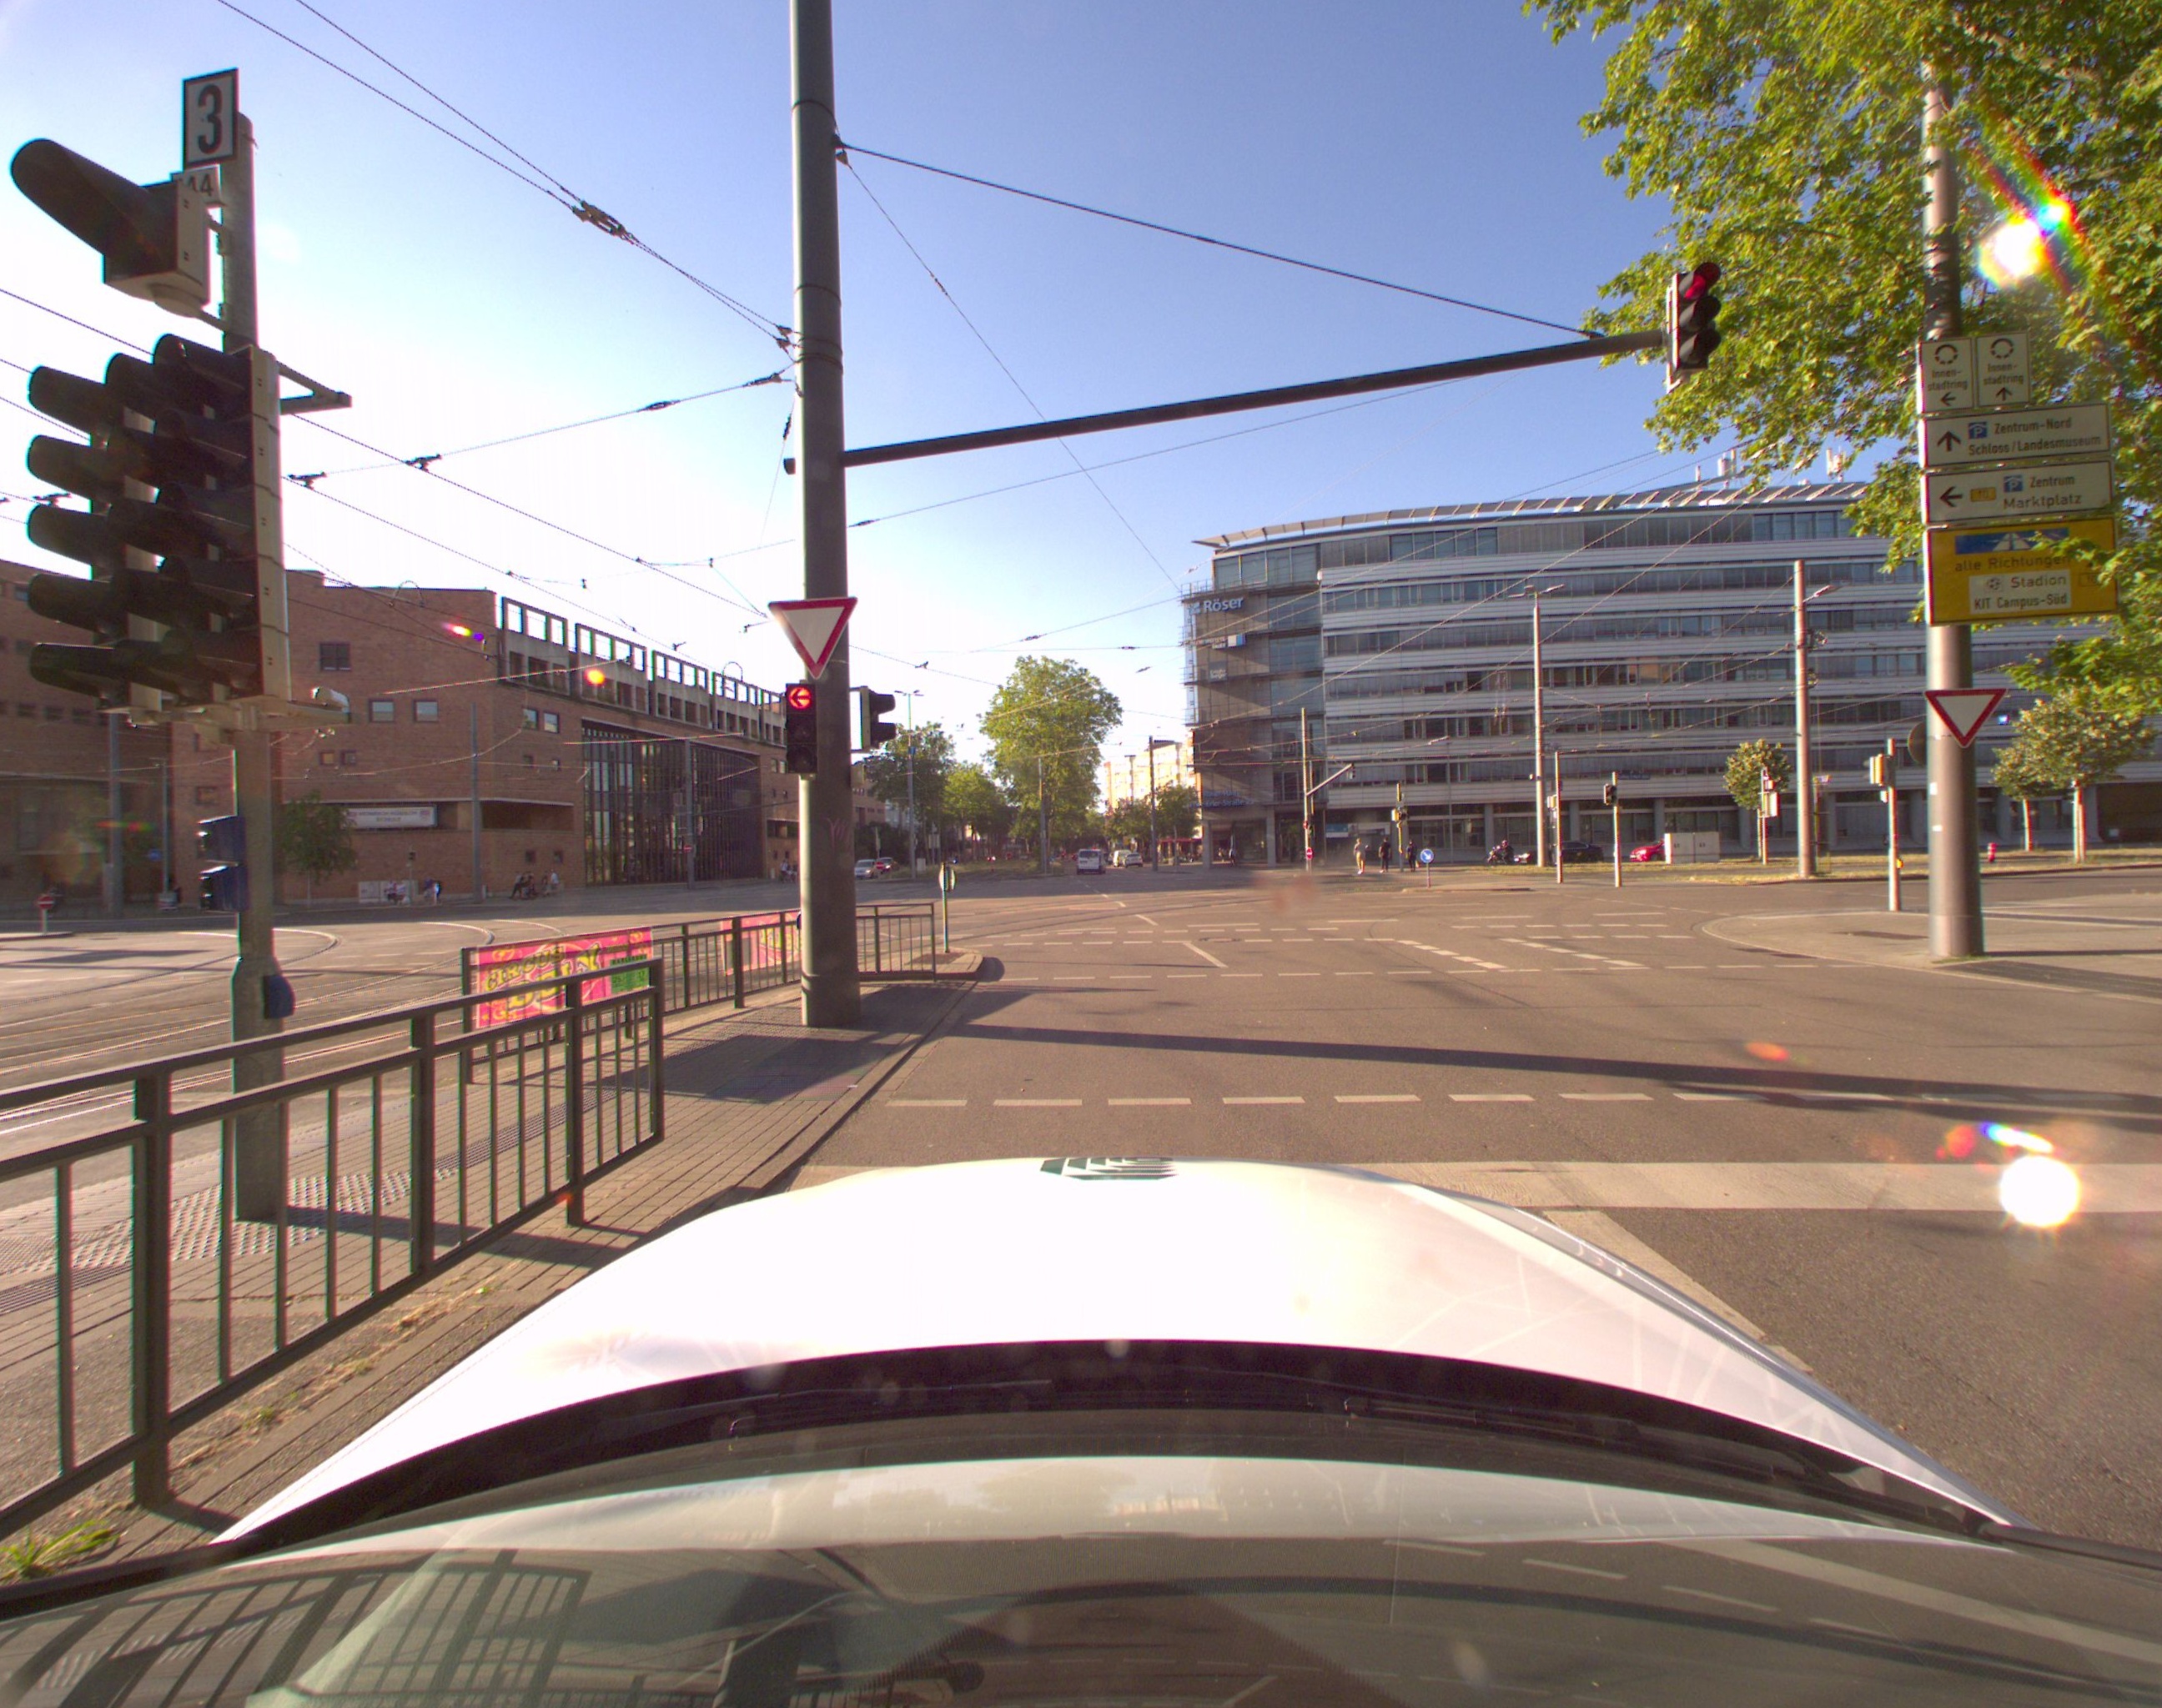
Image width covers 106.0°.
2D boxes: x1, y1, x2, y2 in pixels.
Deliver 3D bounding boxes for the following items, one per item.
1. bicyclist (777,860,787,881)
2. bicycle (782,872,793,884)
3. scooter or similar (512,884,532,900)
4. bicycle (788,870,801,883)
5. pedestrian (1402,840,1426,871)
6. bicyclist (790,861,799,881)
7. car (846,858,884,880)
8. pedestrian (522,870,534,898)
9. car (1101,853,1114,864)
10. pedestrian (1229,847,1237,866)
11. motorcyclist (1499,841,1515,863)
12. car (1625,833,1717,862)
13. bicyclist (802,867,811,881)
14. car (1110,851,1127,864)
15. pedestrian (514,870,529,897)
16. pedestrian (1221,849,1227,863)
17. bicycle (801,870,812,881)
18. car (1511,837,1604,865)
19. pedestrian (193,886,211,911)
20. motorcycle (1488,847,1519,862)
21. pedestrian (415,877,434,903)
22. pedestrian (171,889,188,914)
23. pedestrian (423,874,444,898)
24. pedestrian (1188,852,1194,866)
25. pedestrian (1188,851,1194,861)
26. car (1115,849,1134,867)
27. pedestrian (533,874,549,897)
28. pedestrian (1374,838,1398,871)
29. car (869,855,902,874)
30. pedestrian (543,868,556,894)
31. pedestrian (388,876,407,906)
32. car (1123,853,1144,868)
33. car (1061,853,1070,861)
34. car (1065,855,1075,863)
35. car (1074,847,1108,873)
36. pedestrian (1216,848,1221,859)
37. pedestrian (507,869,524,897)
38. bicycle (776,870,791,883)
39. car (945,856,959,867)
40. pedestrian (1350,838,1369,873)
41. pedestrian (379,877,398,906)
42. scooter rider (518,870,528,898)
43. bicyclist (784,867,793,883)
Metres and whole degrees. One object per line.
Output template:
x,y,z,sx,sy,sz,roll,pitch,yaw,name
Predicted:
-24.303,1.330,66.282,0.534,1.731,0.581,-2,0,1,bicyclist
-24.994,2.031,69.363,0.466,0.963,1.320,-2,0,2,bicycle
-33.726,2.280,49.150,0.956,0.899,0.173,-2,0,-45,scooter or similar
-23.416,1.819,66.583,0.471,0.963,1.576,-2,0,2,bicycle
17.239,0.058,42.163,0.943,1.564,0.899,-2,0,9,pedestrian
-23.394,1.423,66.524,0.456,1.603,0.581,-2,0,1,bicyclist
-18.003,1.220,67.953,1.987,1.640,4.001,-2,0,1,car
-34.064,1.860,50.135,0.553,1.683,0.586,-2,0,-35,pedestrian
4.095,0.655,126.778,1.986,1.618,4.002,-2,0,2,car
12.465,0.174,66.754,0.609,1.507,0.580,-2,0,8,pedestrian
25.630,-0.133,49.011,0.708,1.275,0.460,-2,0,5,motorcyclist
34.880,-0.371,48.230,3.966,1.393,1.789,-4,0,7,car
-24.339,1.756,72.244,0.503,1.179,0.581,-2,0,1,bicyclist
4.823,0.477,105.296,1.986,1.618,4.002,-2,0,2,car
-35.725,1.910,52.029,0.566,1.683,0.552,-2,0,26,pedestrian
15.182,0.210,86.560,0.608,1.507,0.580,-2,0,9,pedestrian
-24.369,1.882,72.183,0.449,0.963,1.348,-2,0,2,bicycle
26.909,-0.160,46.080,4.136,1.398,1.789,-2,0,7,car
-51.961,2.631,48.120,0.508,1.463,0.466,-2,0,-6,pedestrian
25.451,0.020,49.026,1.560,0.810,0.468,-2,0,6,motorcycle
-37.777,2.074,46.859,0.566,1.453,0.615,-2,0,2,pedestrian
-54.130,2.859,48.906,0.583,1.463,0.537,-2,0,28,pedestrian
-36.808,1.833,46.305,0.597,1.339,0.684,-2,0,17,pedestrian
14.169,0.654,104.877,0.741,1.714,0.612,-2,0,1,pedestrian
14.319,0.209,105.919,0.575,1.289,0.910,-2,0,2,pedestrian
4.746,0.449,89.640,1.986,1.860,4.002,-2,0,2,car
-34.239,1.974,51.638,0.634,1.421,0.603,-2,0,26,pedestrian
16.074,0.022,42.952,0.907,1.685,1.038,-2,0,9,pedestrian
-18.114,0.963,75.528,1.987,1.640,4.001,-2,0,1,car
-34.418,1.755,52.737,0.621,1.625,0.606,-2,0,-38,pedestrian
-37.900,2.047,45.163,0.595,1.648,0.551,-2,0,14,pedestrian
5.292,0.620,82.822,1.986,1.376,4.002,-2,0,2,car
-3.957,0.786,205.580,1.986,2.013,4.001,-2,0,1,car
-1.962,0.969,147.313,1.792,1.442,3.999,0,-1,0,car
0.798,0.425,61.194,1.951,1.848,5.339,-2,0,6,car
22.718,-0.072,134.437,0.741,1.714,0.612,-2,0,1,pedestrian
-35.160,1.817,50.611,0.642,1.683,0.626,-2,0,34,pedestrian
-24.271,1.853,66.377,0.540,0.963,1.587,-2,0,2,bicycle
-24.443,1.379,153.952,1.987,2.013,3.999,-2,0,-1,car
14.617,0.056,42.772,0.857,1.788,0.875,-2,0,16,pedestrian
-38.667,2.104,45.483,0.590,1.614,0.593,-2,0,30,pedestrian
-33.714,1.808,49.192,0.441,1.647,0.226,-2,0,-44,scooter rider
-24.982,1.796,69.468,0.503,1.304,0.581,-2,0,1,bicyclist
